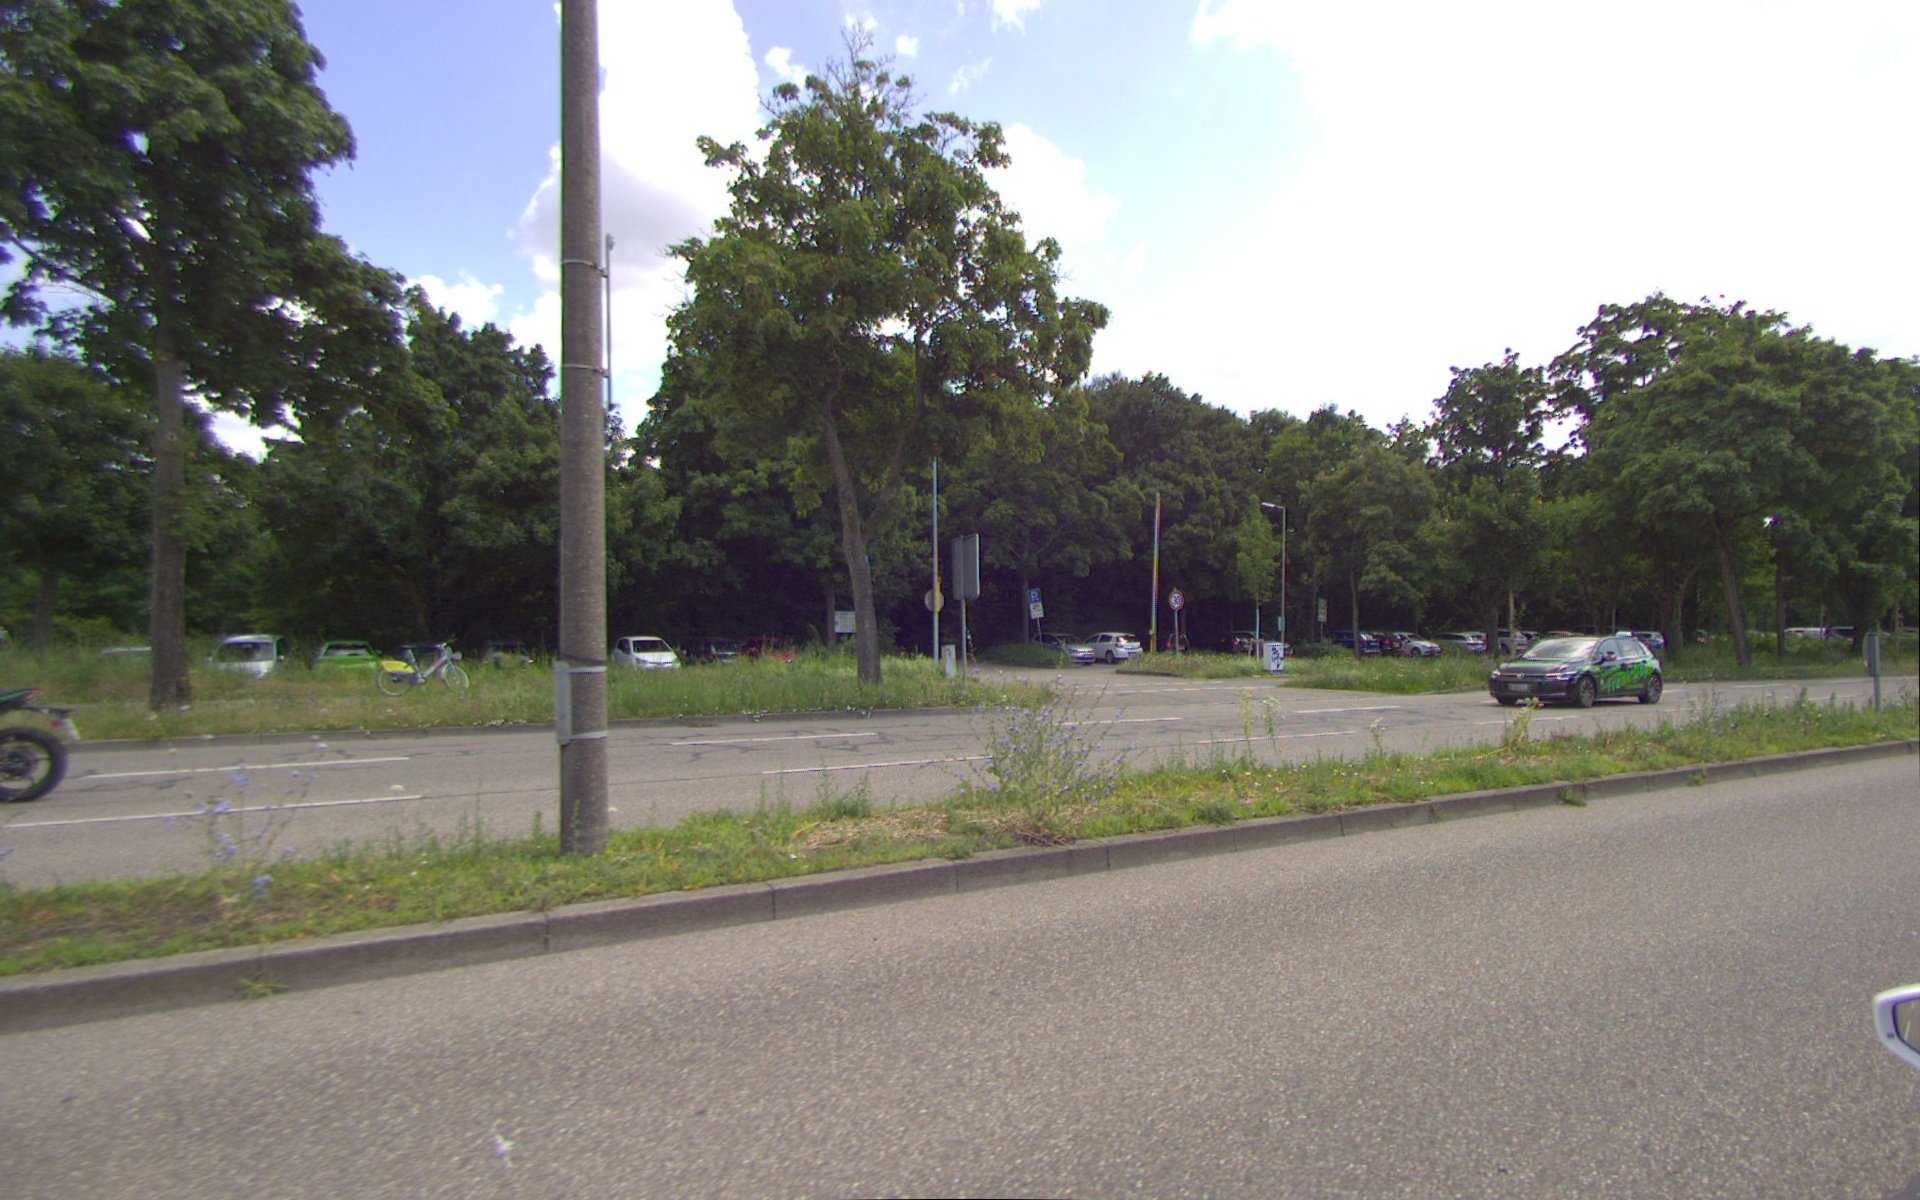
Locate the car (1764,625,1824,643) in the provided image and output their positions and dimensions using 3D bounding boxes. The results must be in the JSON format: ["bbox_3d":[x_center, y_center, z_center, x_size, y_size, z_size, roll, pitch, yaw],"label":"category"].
[{"bbox_3d":[75.114,3.049,90.528,1.762,1.406,3.773,0,0,-26],"label":"car"}]

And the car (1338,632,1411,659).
[{"bbox_3d":[24.617,2.672,59.766,1.762,1.406,3.773,0,0,-26],"label":"car"}]

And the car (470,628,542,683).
[{"bbox_3d":[-15.186,1.799,33.507,1.677,1.579,3.965,0,0,-32],"label":"car"}]

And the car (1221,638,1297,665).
[{"bbox_3d":[16.065,2.741,54.181,1.764,1.264,3.767,0,0,-30],"label":"car"}]

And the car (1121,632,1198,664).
[{"bbox_3d":[9.978,2.385,50.404,1.764,1.405,3.767,0,0,-30],"label":"car"}]

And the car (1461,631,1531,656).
[{"bbox_3d":[35.291,2.841,66.252,1.762,1.406,3.773,0,0,-26],"label":"car"}]

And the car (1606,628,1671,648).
[{"bbox_3d":[51.832,2.896,76.829,1.762,1.406,3.773,0,0,-26],"label":"car"}]

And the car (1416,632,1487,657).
[{"bbox_3d":[30.917,2.795,63.249,1.762,1.406,3.773,0,0,-26],"label":"car"}]

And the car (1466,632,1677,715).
[{"bbox_3d":[12.710,1.443,20.834,4.413,1.478,1.747,0,0,-28],"label":"car"}]

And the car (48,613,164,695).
[{"bbox_3d":[-23.670,1.421,27.985,1.979,2.040,3.962,0,0,-34],"label":"car"}]

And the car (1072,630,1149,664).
[{"bbox_3d":[7.302,2.275,49.019,1.764,1.447,3.767,0,0,-30],"label":"car"}]

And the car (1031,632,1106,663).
[{"bbox_3d":[5.122,2.248,47.865,1.763,1.264,3.770,0,0,-28],"label":"car"}]

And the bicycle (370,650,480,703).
[{"bbox_3d":[-10.637,1.499,20.013,1.895,0.991,0.564,1,-2,-30],"label":"bicycle"}]

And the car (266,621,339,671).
[{"bbox_3d":[-22.921,1.562,35.137,1.977,1.539,3.966,0,0,-31],"label":"car"}]

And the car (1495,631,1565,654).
[{"bbox_3d":[38.593,2.851,68.074,1.762,1.406,3.773,0,0,-26],"label":"car"}]

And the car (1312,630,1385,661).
[{"bbox_3d":[22.427,2.606,58.118,1.762,1.589,3.773,0,0,-26],"label":"car"}]

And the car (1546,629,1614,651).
[{"bbox_3d":[43.887,2.791,71.146,1.762,1.406,3.773,0,0,-26],"label":"car"}]

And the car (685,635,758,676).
[{"bbox_3d":[-8.886,1.997,37.208,1.763,1.284,3.770,0,0,-28],"label":"car"}]

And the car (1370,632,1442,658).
[{"bbox_3d":[26.982,2.692,60.847,1.762,1.406,3.773,0,0,-26],"label":"car"}]

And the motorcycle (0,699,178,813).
[{"bbox_3d":[-7.997,1.277,8.049,2.639,0.782,0.748,0,0,-30],"label":"motorcycle"}]

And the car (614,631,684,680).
[{"bbox_3d":[-11.221,1.929,36.099,1.763,1.528,3.770,0,0,-28],"label":"car"}]

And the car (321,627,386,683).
[{"bbox_3d":[-19.219,1.697,31.811,1.677,1.559,3.560,0,0,-32],"label":"car"}]

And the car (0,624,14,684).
[{"bbox_3d":[-27.296,1.531,26.942,1.977,1.647,3.966,0,0,-31],"label":"car"}]

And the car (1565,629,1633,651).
[{"bbox_3d":[45.894,2.872,72.233,1.762,1.406,3.773,0,0,-26],"label":"car"}]

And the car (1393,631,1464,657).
[{"bbox_3d":[28.905,2.684,62.090,1.762,1.406,3.773,0,0,-26],"label":"car"}]

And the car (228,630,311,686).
[{"bbox_3d":[-21.058,1.713,30.738,1.979,1.431,3.962,0,0,-34],"label":"car"}]

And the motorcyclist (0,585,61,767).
[{"bbox_3d":[-8.155,0.594,8.009,1.313,1.433,0.823,0,0,-30],"label":"motorcyclist"}]

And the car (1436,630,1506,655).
[{"bbox_3d":[32.988,2.721,64.916,1.761,1.406,3.774,0,0,-24],"label":"car"}]

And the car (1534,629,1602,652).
[{"bbox_3d":[42.408,2.807,70.133,1.762,1.406,3.773,0,0,-26],"label":"car"}]

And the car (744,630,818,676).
[{"bbox_3d":[-6.962,2.003,38.740,1.763,1.528,3.770,0,0,-28],"label":"car"}]
